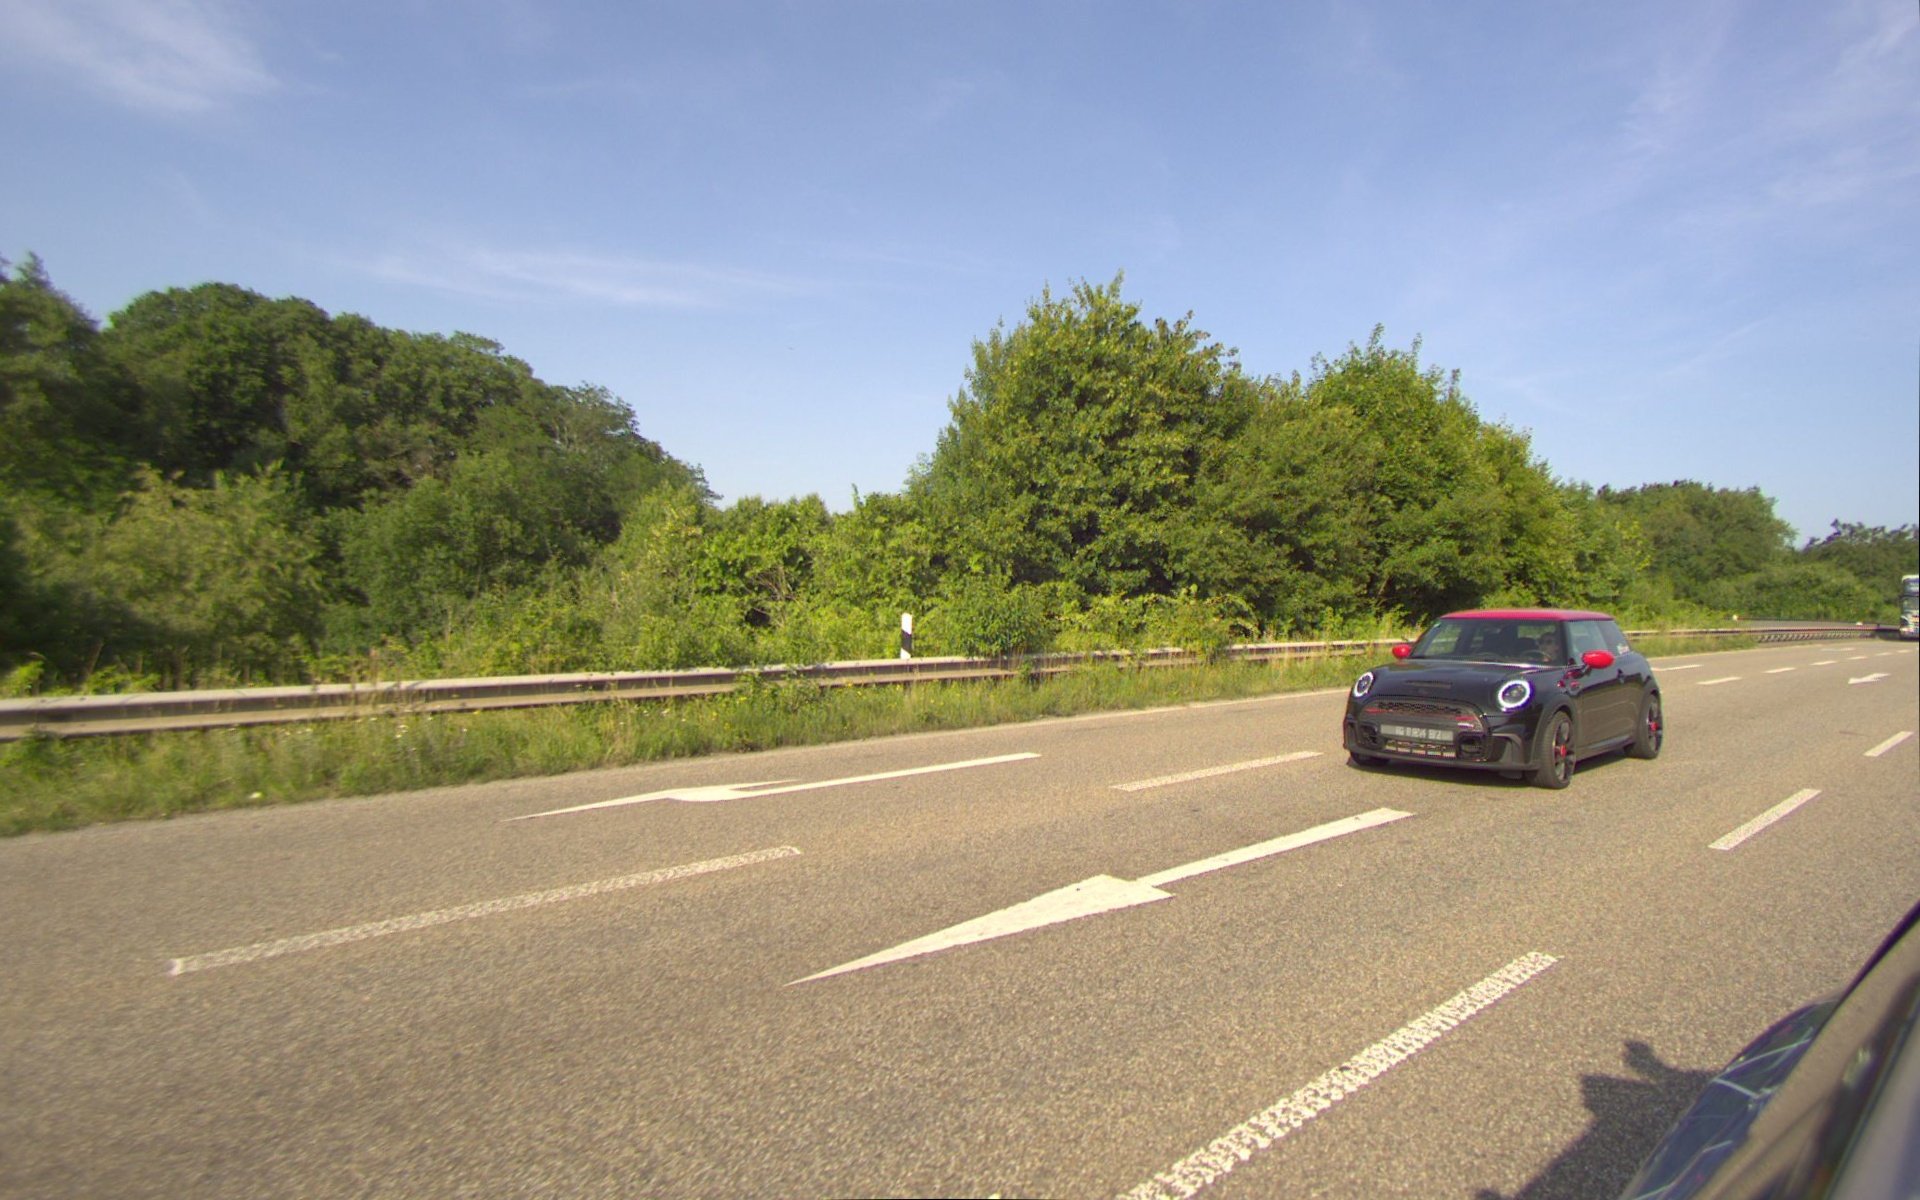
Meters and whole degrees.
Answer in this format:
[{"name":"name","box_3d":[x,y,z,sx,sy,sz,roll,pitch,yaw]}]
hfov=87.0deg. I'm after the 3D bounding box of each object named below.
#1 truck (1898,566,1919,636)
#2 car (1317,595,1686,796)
[{"name":"truck","box_3d":[62.102,0.051,63.584,14.310,4.070,3.194,0,0,-41]},{"name":"car","box_3d":[5.163,0.703,9.454,3.805,1.486,1.822,0,0,-41]}]
